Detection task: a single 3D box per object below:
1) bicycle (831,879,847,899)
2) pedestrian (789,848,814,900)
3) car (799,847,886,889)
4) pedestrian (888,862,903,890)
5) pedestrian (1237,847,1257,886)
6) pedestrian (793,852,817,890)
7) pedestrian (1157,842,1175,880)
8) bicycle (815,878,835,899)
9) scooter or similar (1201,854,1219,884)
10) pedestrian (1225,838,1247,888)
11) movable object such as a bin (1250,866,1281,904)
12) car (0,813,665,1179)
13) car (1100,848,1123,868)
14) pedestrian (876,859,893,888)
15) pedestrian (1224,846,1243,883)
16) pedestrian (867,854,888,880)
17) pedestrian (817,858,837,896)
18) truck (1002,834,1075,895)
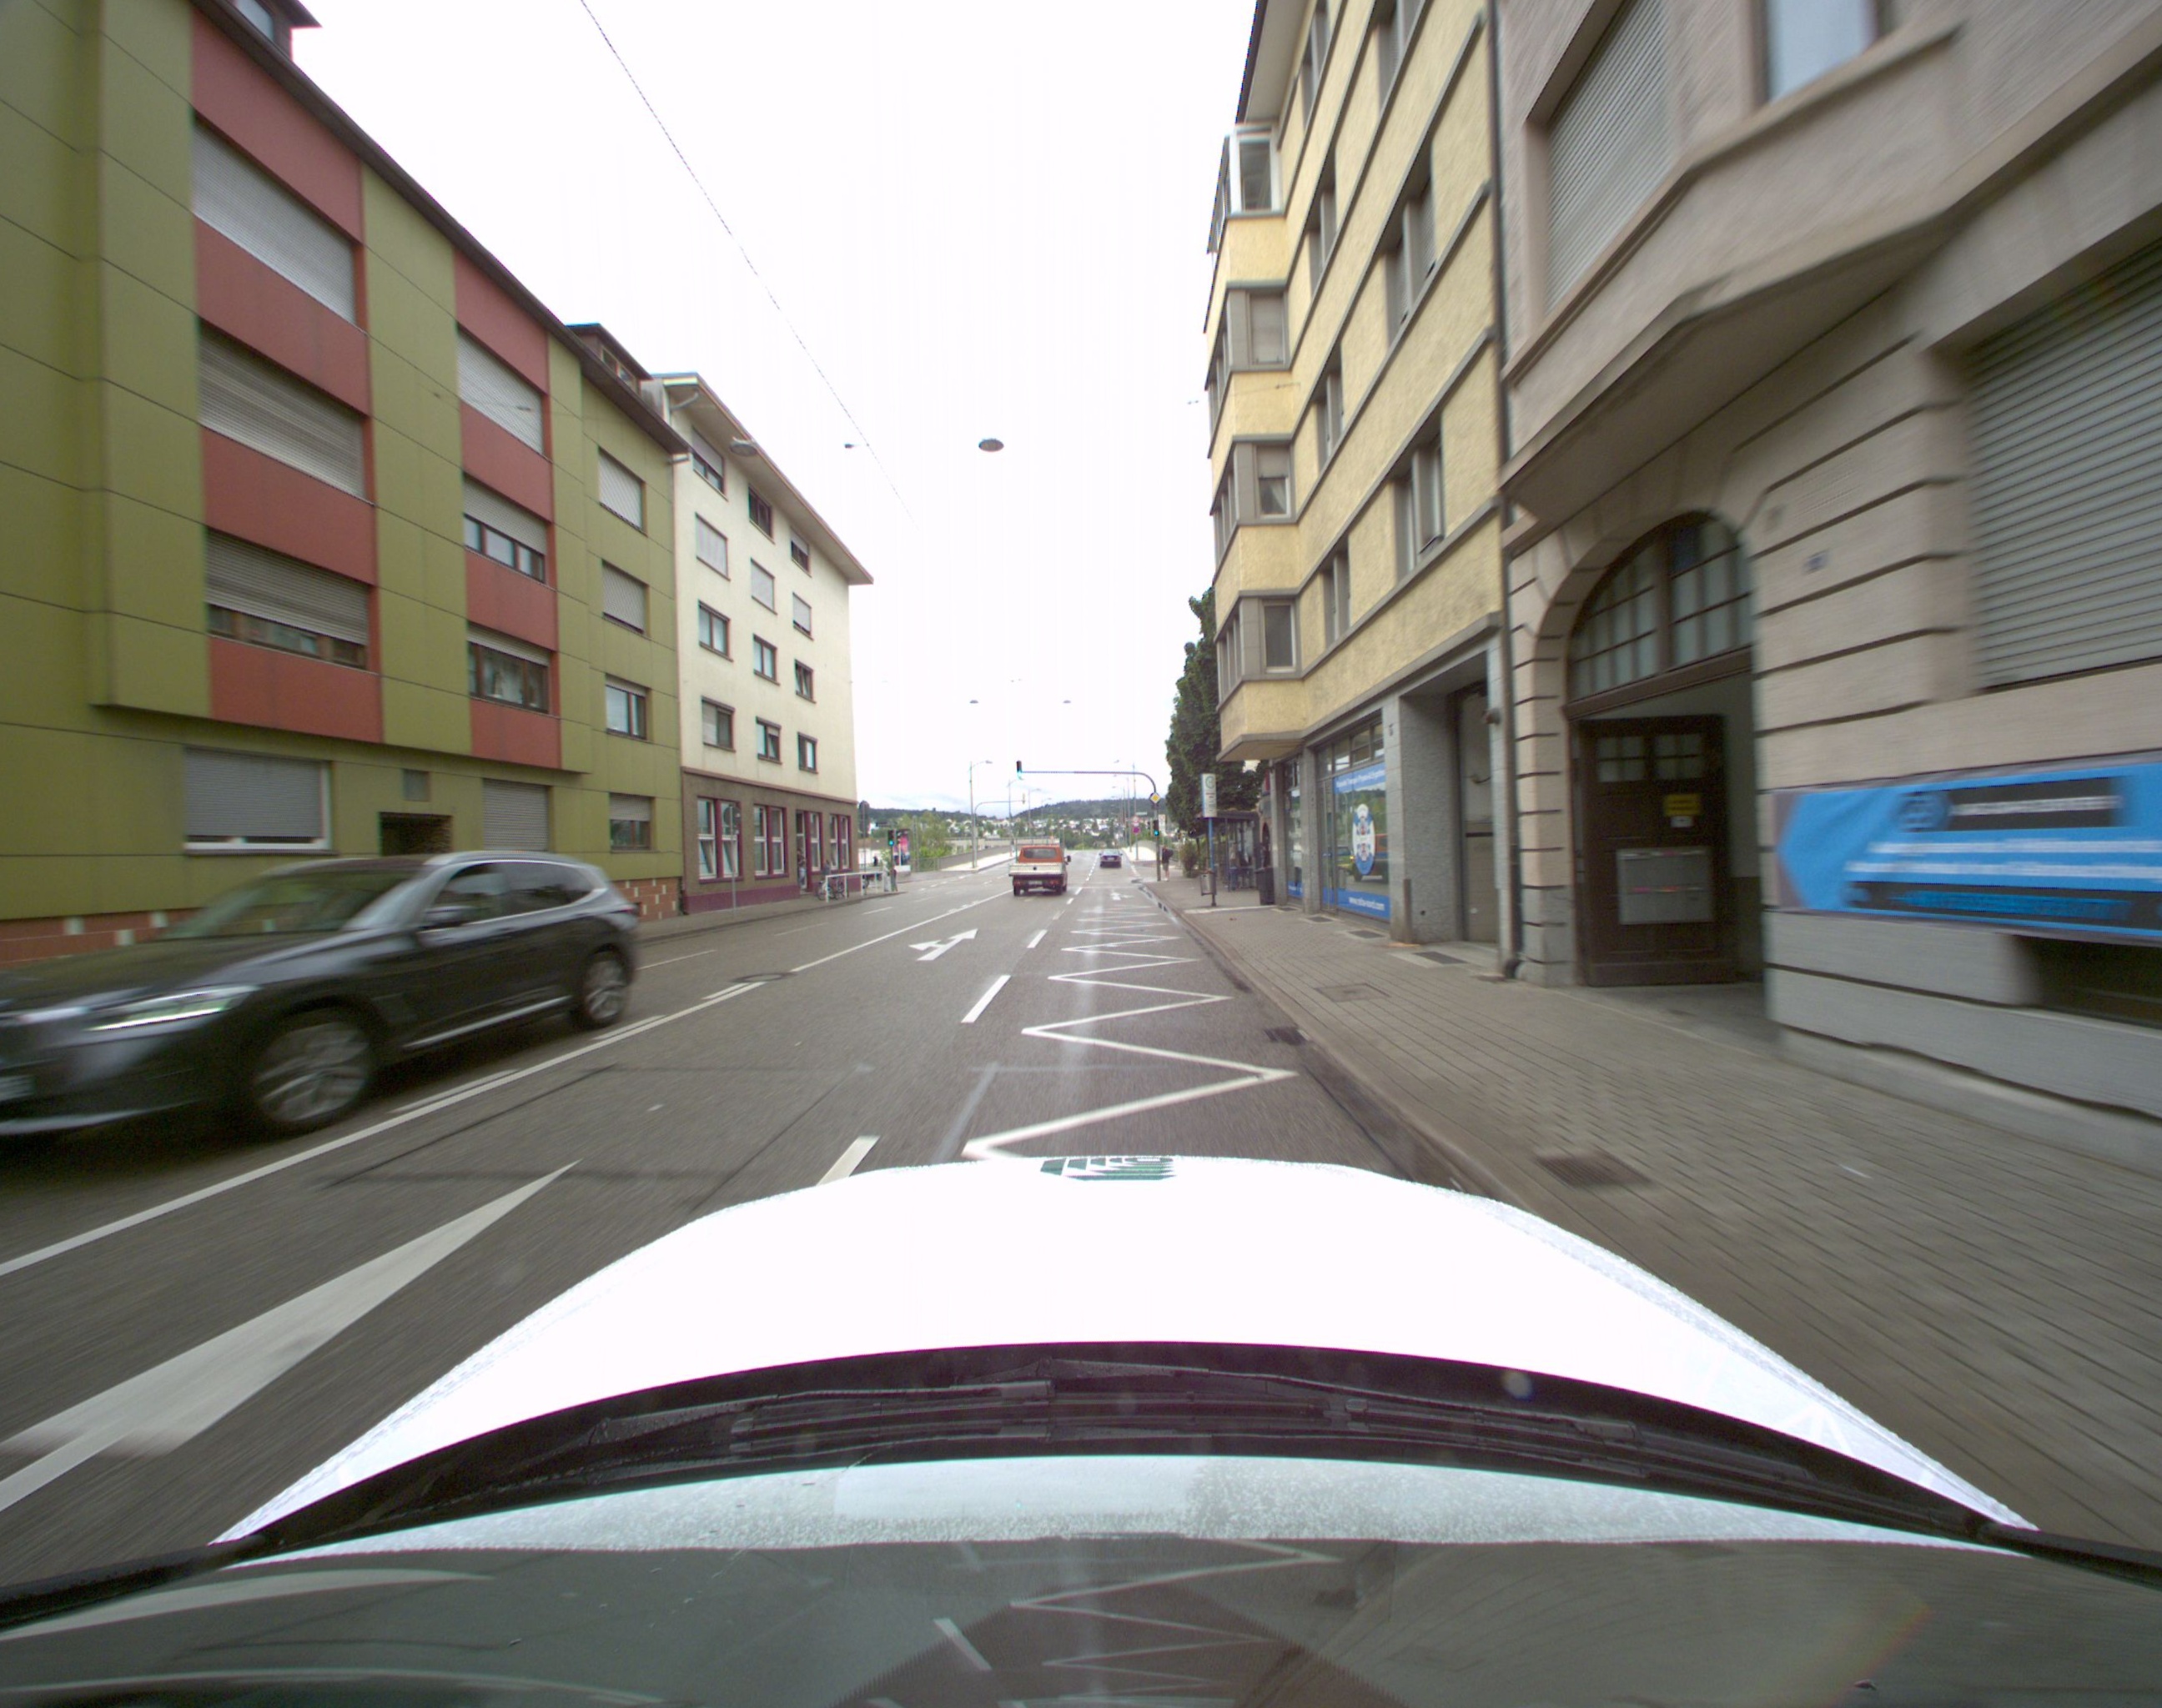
[{"bbox_3d":[-9.823,1.425,33.115,0.263,0.783,1.111,-2,0,2],"label":"bicycle"},{"bbox_3d":[-11.745,0.832,34.224,0.709,2.099,0.730,-2,-1,-1],"label":"pedestrian"},{"bbox_3d":[-14.799,0.840,50.808,5.003,2.350,1.989,-2,-1,-16],"label":"car"},{"bbox_3d":[-9.601,1.128,42.096,0.542,1.388,0.650,-2,-1,3],"label":"pedestrian"},{"bbox_3d":[6.059,0.450,29.663,0.562,1.396,0.514,-2,-1,-1],"label":"pedestrian"},{"bbox_3d":[-11.780,0.711,34.771,0.770,1.577,0.589,-2,-1,1],"label":"pedestrian"},{"bbox_3d":[4.255,0.345,40.728,0.730,1.841,0.631,-2,-1,0],"label":"pedestrian"},{"bbox_3d":[-10.226,1.375,32.536,0.263,0.783,1.422,-2,0,2],"label":"bicycle"},{"bbox_3d":[5.272,0.598,33.301,0.509,1.172,1.550,-2,0,2],"label":"scooter or similar"},{"bbox_3d":[5.413,0.323,28.418,0.616,1.699,0.657,-2,-1,6],"label":"pedestrian"},{"bbox_3d":[4.653,0.770,20.549,0.598,0.926,0.705,-2,-1,2],"label":"movable object such as a bin"},{"bbox_3d":[-5.387,0.730,6.280,1.924,1.757,4.572,-2,0,0],"label":"car"},{"bbox_3d":[2.429,0.337,64.951,1.747,1.479,4.002,-2,0,2],"label":"car"},{"bbox_3d":[-10.063,0.978,41.757,0.640,1.457,0.661,-2,-1,0],"label":"pedestrian"},{"bbox_3d":[5.672,0.388,30.252,0.532,1.350,0.596,-2,-1,0],"label":"pedestrian"},{"bbox_3d":[-14.308,0.896,57.189,1.076,1.757,1.052,-2,-1,-33],"label":"pedestrian"},{"bbox_3d":[-10.772,0.972,34.510,0.573,1.553,0.739,-2,-1,-1],"label":"pedestrian"},{"bbox_3d":[-1.594,0.391,32.639,2.391,2.129,5.317,-2,0,2],"label":"truck"}]
